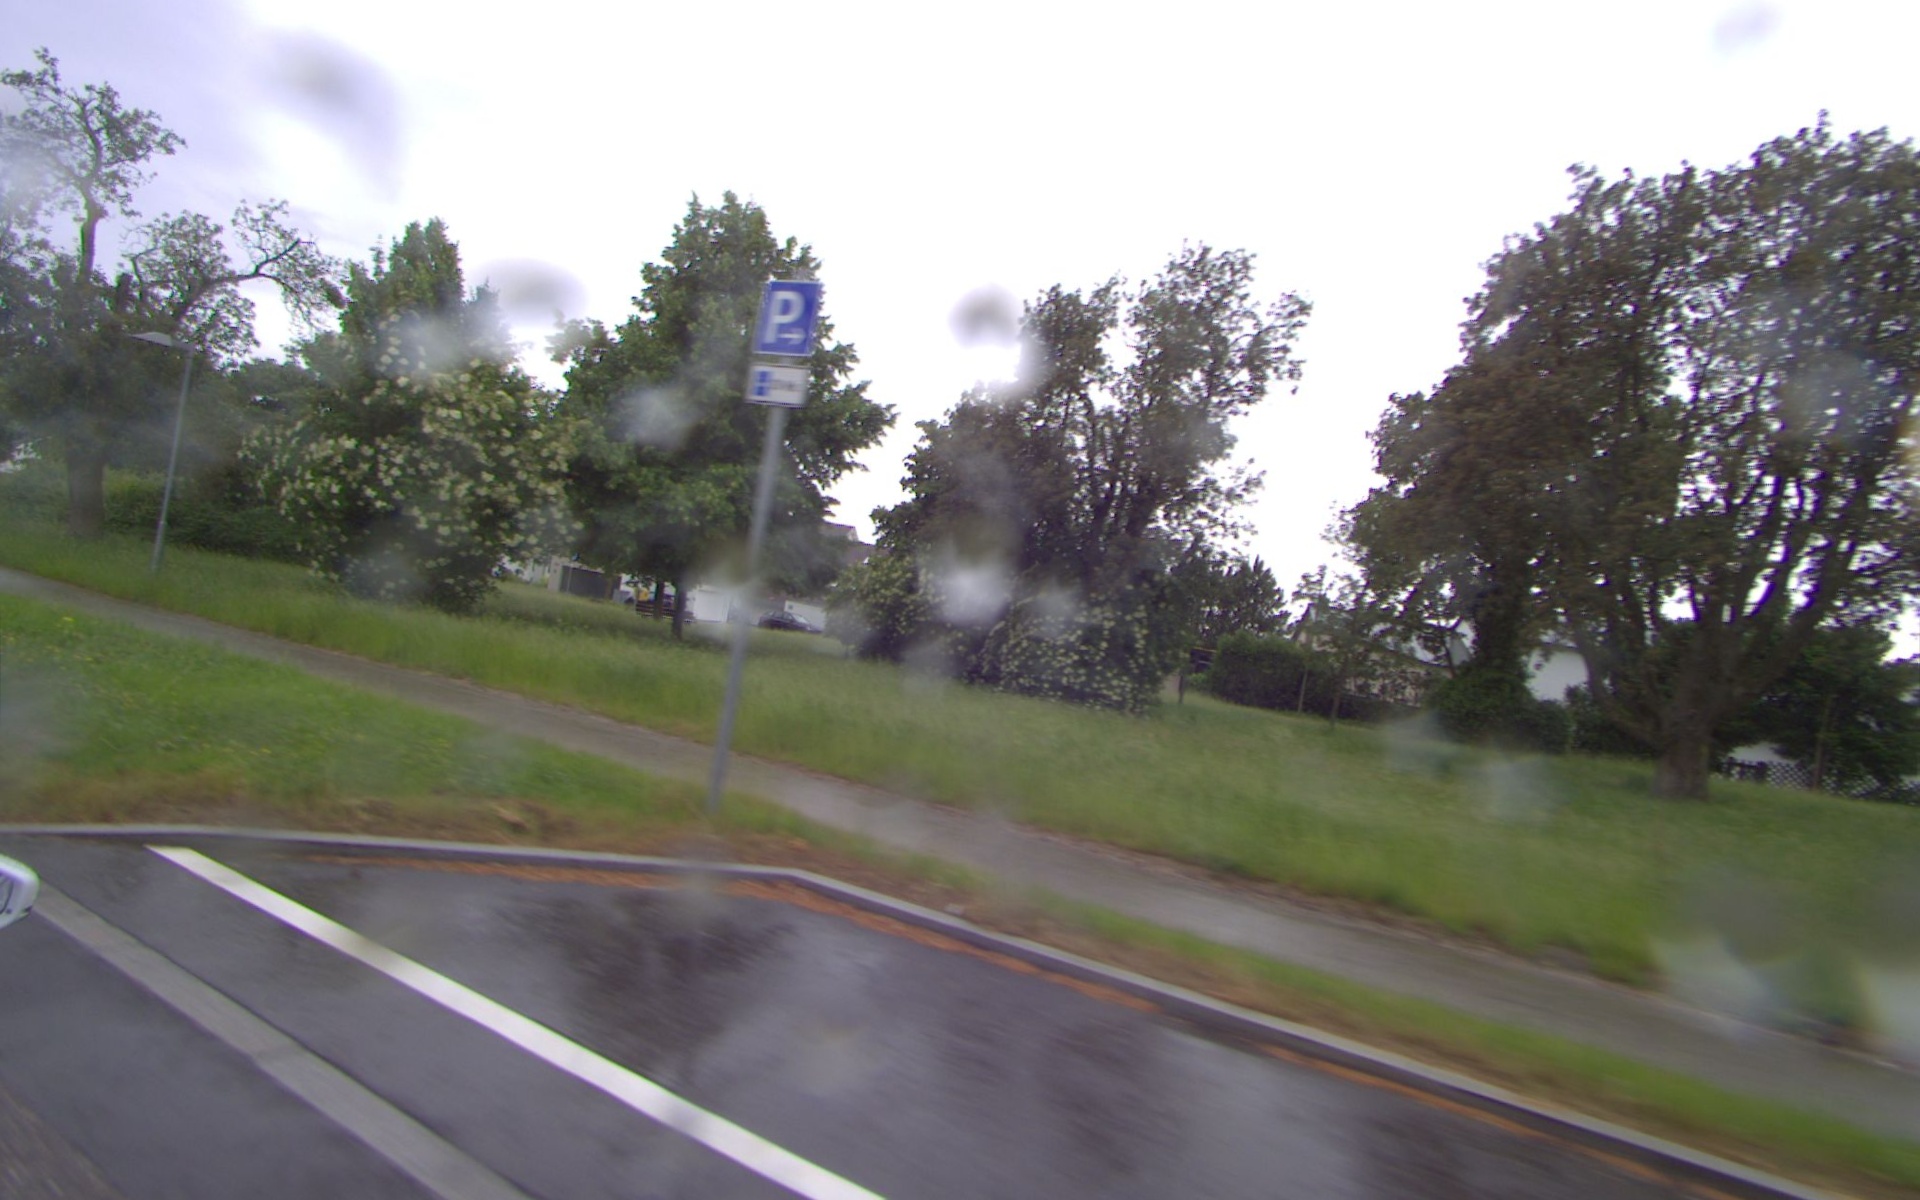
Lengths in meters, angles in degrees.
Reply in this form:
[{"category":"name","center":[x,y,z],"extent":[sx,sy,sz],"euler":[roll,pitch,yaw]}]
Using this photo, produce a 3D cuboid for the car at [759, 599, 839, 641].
[{"category":"car","center":[-9.925,1.221,61.836],"extent":[4.389,1.761,1.997],"euler":[10,1,30]}]
